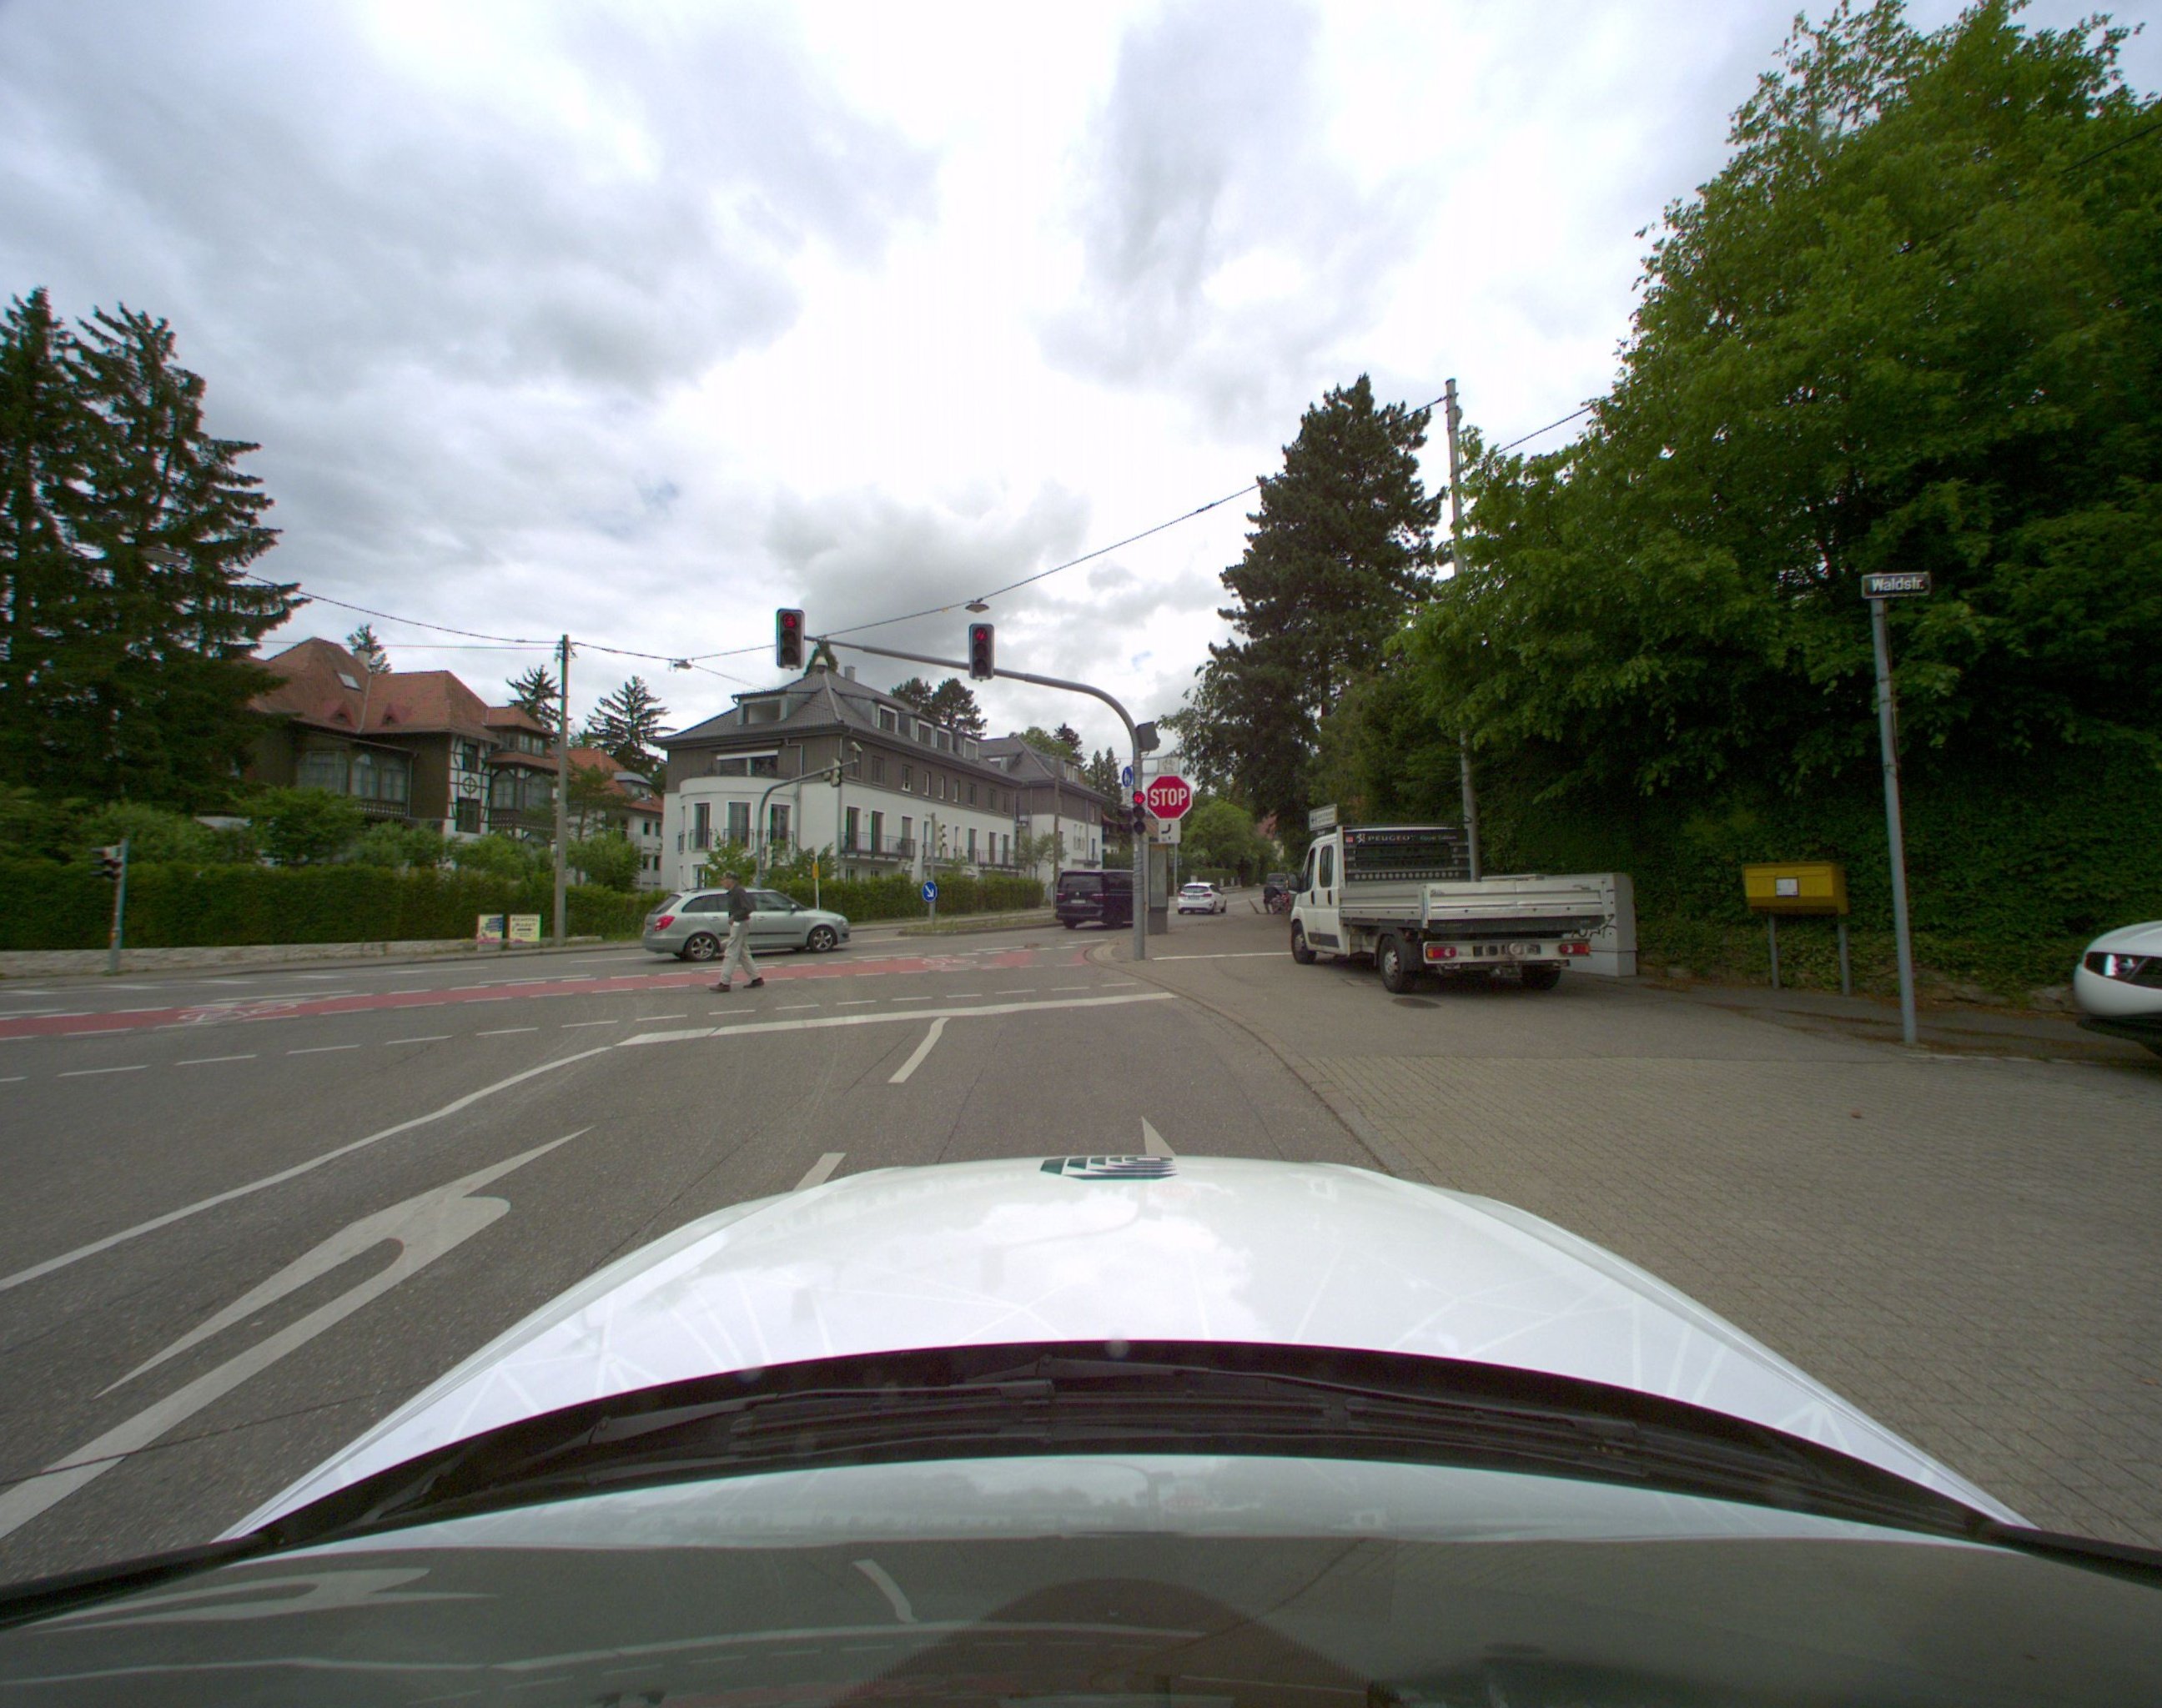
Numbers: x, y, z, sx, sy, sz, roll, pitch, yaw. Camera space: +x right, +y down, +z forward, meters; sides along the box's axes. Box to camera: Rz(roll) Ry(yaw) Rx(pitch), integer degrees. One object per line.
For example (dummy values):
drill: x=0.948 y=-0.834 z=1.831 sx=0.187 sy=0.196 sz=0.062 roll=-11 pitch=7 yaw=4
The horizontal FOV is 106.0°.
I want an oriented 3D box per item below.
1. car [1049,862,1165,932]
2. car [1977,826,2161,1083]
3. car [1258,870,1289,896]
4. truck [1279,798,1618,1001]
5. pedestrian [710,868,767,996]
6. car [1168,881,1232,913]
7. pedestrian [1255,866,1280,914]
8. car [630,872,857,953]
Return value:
car: x=0.993 y=1.318 z=27.129 sx=1.975 sy=2.013 sz=4.809 roll=2 pitch=1 yaw=27
car: x=8.905 y=0.616 z=4.919 sx=4.203 sy=1.594 sz=1.998 roll=-1 pitch=-3 yaw=22
car: x=15.745 y=2.447 z=66.855 sx=1.983 sy=2.014 sz=4.516 roll=-1 pitch=-3 yaw=6
truck: x=4.727 y=0.610 z=11.841 sx=2.177 sy=2.195 sz=5.878 roll=0 pitch=-2 yaw=-1
pedestrian: x=-4.764 y=1.054 z=11.318 sx=0.701 sy=1.682 sz=0.680 roll=-1 pitch=0 yaw=-25
car: x=5.616 y=2.004 z=38.012 sx=1.913 sy=1.383 sz=4.021 roll=-1 pitch=-3 yaw=24
pedestrian: x=7.861 y=1.511 z=34.346 sx=0.845 sy=2.014 sz=0.582 roll=0 pitch=-2 yaw=-41
car: x=-7.182 y=1.158 z=17.524 sx=4.215 sy=1.476 sz=1.694 roll=1 pitch=1 yaw=-38
